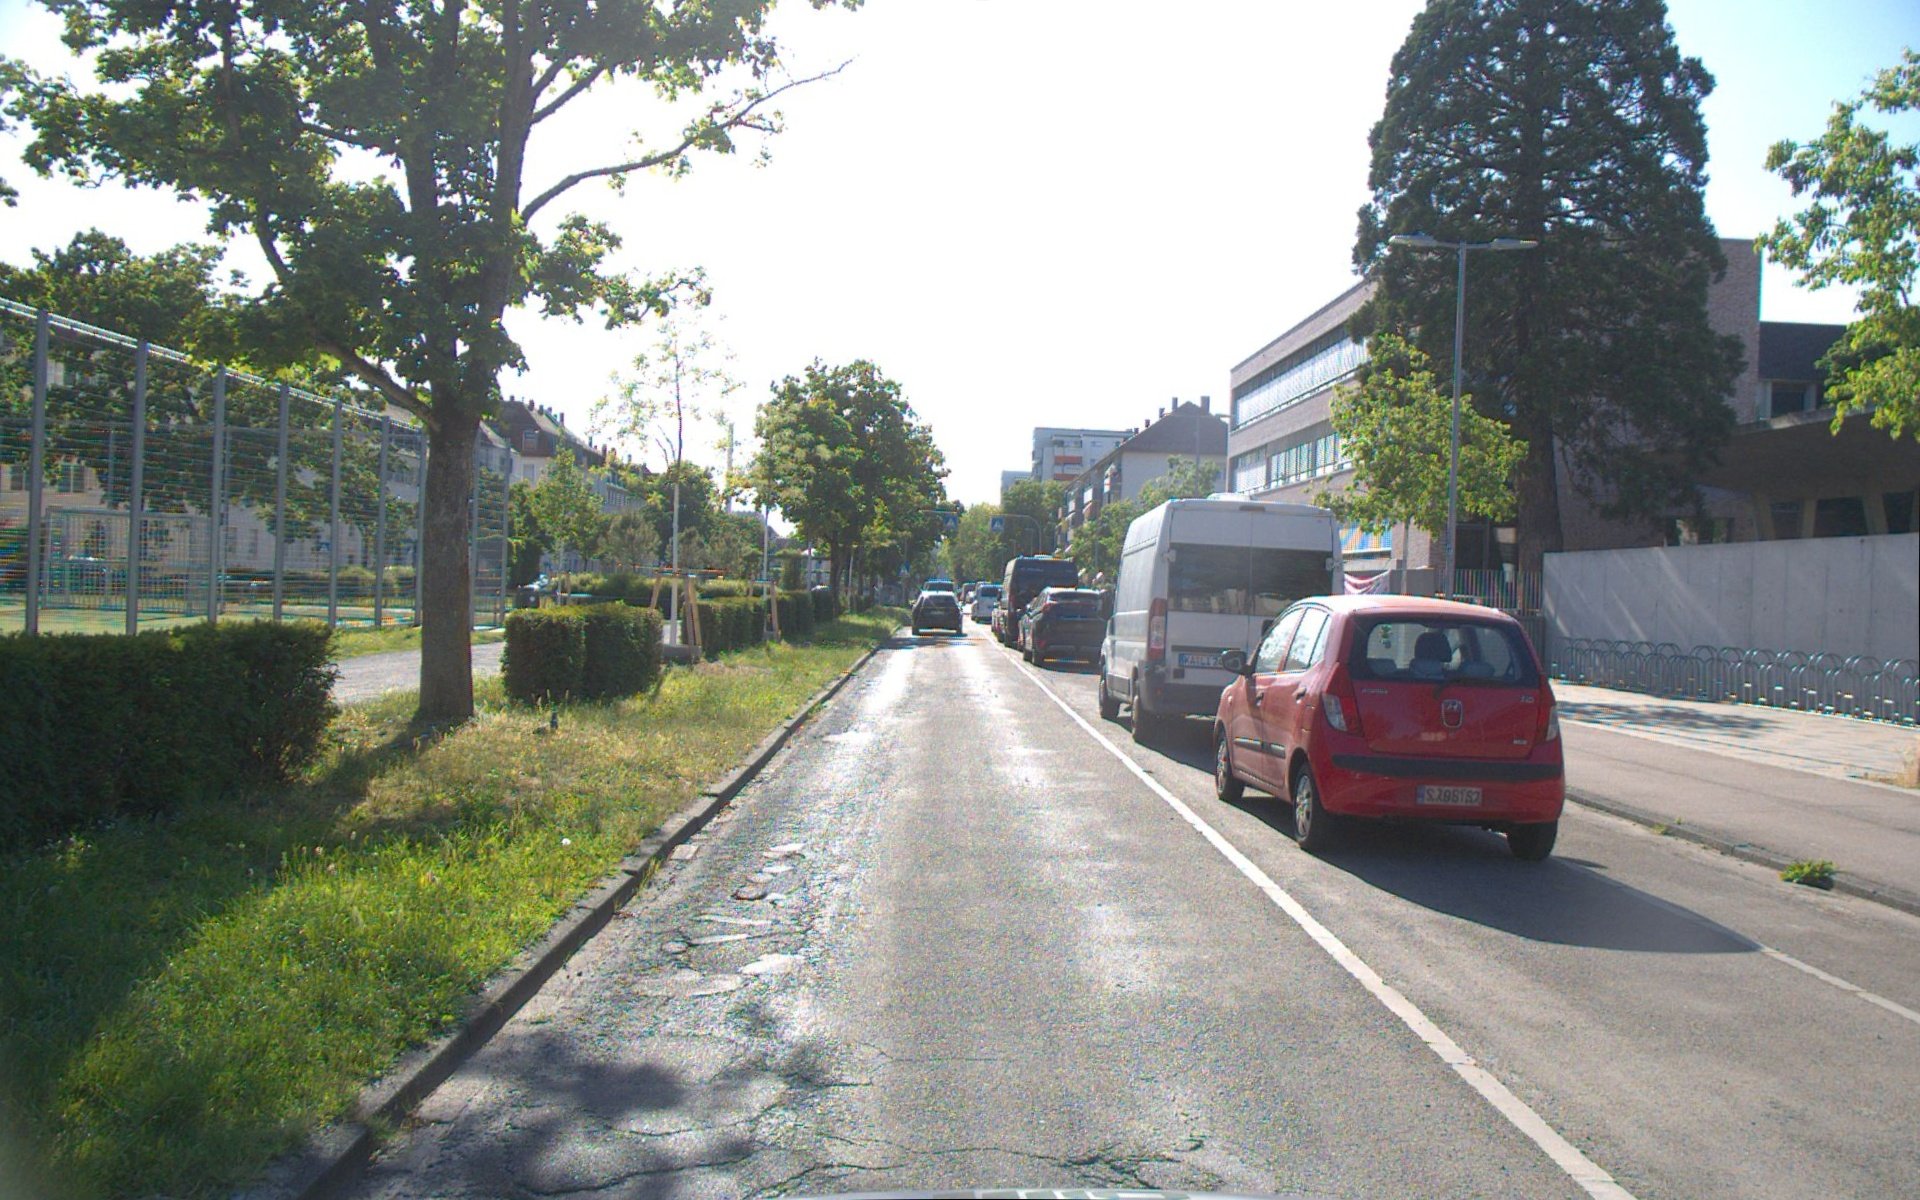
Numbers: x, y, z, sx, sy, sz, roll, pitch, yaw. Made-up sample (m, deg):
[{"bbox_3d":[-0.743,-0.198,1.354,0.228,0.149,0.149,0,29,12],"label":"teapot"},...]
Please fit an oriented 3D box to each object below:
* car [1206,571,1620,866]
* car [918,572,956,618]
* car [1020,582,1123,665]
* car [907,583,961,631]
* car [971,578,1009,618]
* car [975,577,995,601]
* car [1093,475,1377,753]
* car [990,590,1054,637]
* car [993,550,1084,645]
[{"bbox_3d":[2.828,0.647,11.121,1.587,1.616,3.590,2,1,-3],"label":"car"},{"bbox_3d":[-1.137,-0.254,82.782,1.758,2.159,4.000,2,0,-1],"label":"car"},{"bbox_3d":[2.394,0.473,36.545,1.809,1.669,4.502,2,0,-2],"label":"car"},{"bbox_3d":[-0.892,0.225,57.833,1.758,1.536,4.000,2,0,-1],"label":"car"},{"bbox_3d":[1.492,-0.109,82.357,1.757,1.887,4.414,2,1,1],"label":"car"},{"bbox_3d":[2.735,-1.218,180.820,1.953,2.472,4.500,4,0,-1],"label":"car"},{"bbox_3d":[2.907,0.119,18.903,2.195,2.619,5.432,2,0,-1],"label":"car"},{"bbox_3d":[2.046,0.429,55.736,1.953,1.445,4.635,2,0,0],"label":"car"},{"bbox_3d":[2.222,-0.101,48.799,2.073,2.559,6.529,2,0,-2],"label":"car"}]
